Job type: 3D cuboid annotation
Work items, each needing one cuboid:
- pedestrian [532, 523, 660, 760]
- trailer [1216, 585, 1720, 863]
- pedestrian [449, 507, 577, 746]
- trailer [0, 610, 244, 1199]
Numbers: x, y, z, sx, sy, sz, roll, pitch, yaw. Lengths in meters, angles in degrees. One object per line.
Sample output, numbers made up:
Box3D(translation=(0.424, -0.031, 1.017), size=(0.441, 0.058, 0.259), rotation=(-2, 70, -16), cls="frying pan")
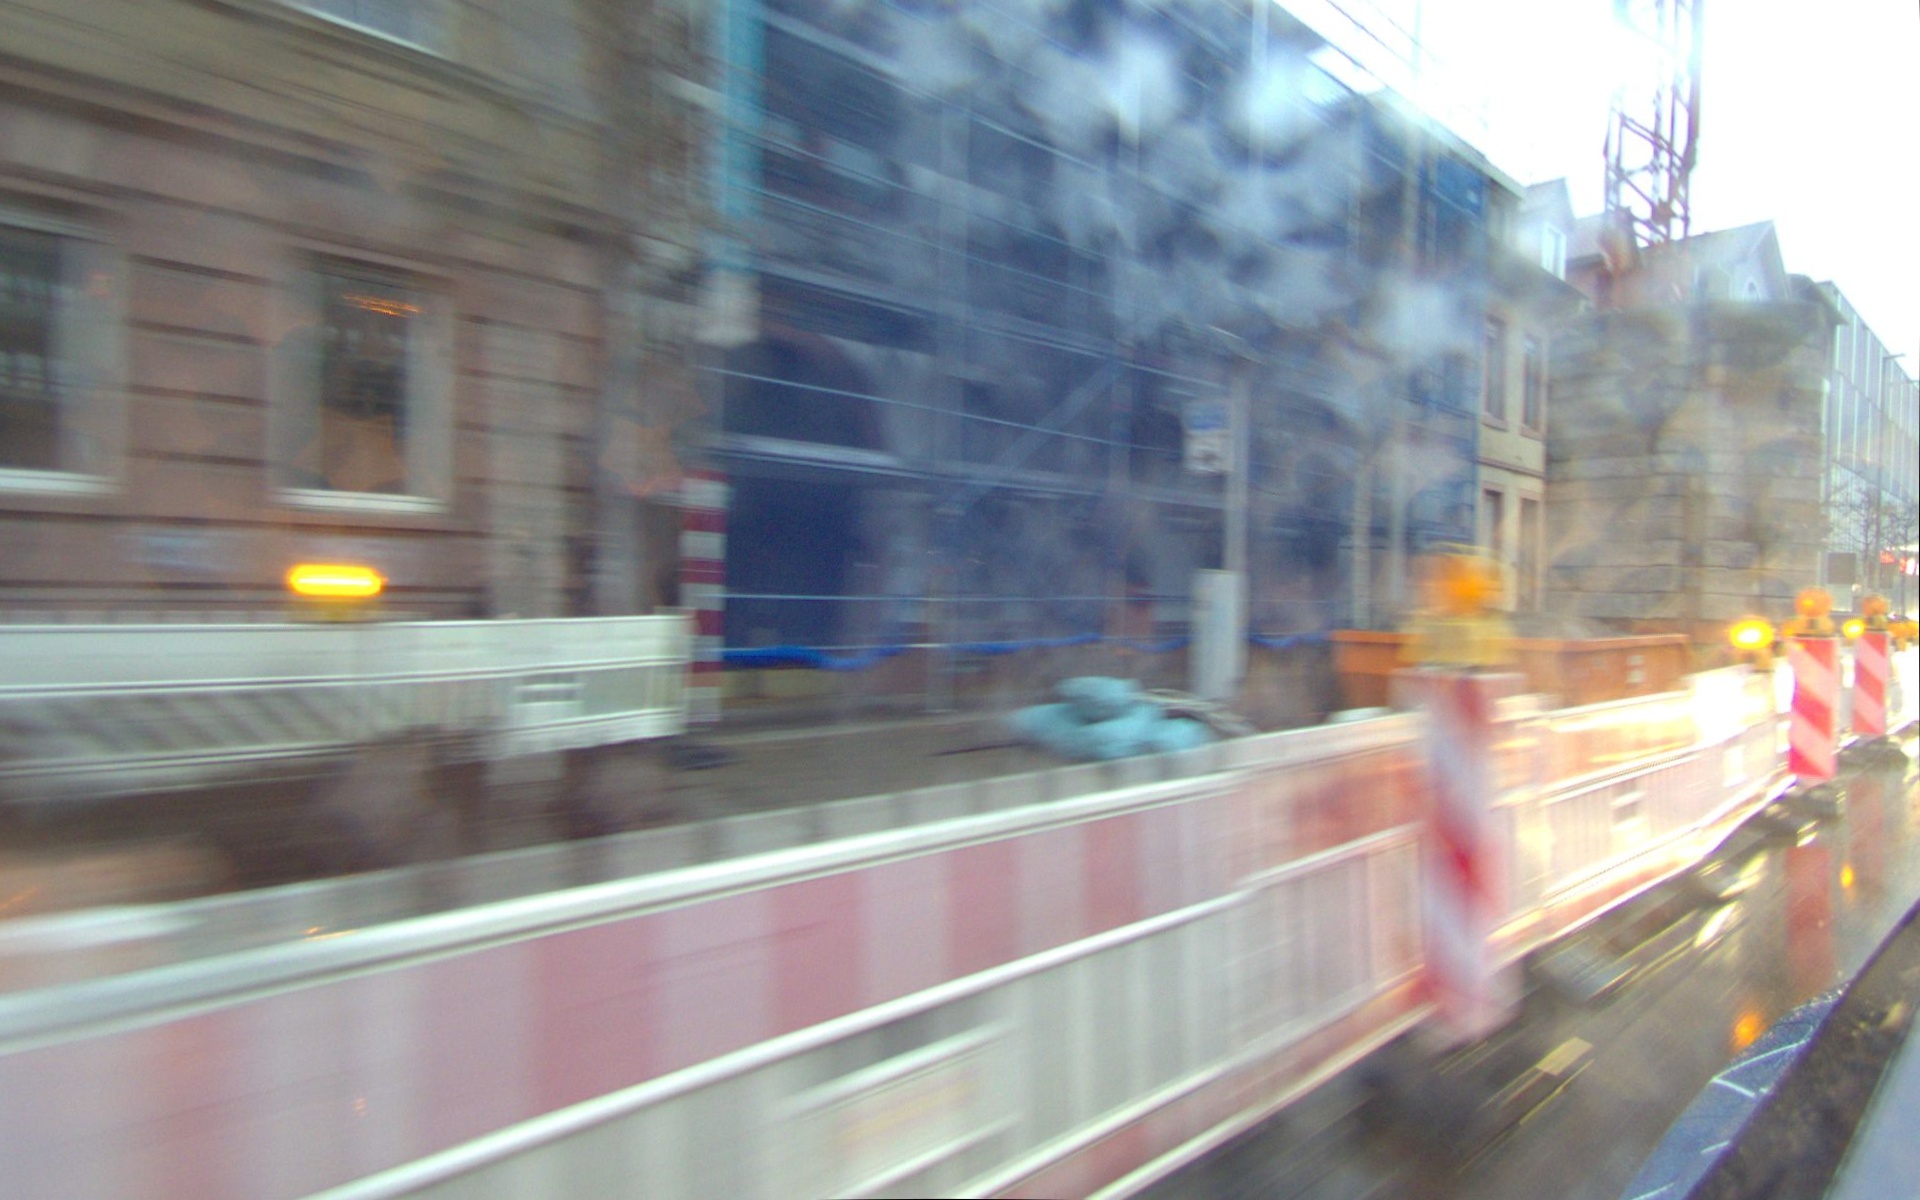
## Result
Box3D(translation=(-2.704, 0.272, 7.497), size=(0.639, 1.641, 0.712), rotation=(1, 3, -41), cls="pedestrian")
Box3D(translation=(4.195, 0.693, 7.936), size=(4.762, 1.508, 1.839), rotation=(0, 2, -41), cls="trailer")
Box3D(translation=(-3.442, 0.173, 7.789), size=(0.714, 1.731, 0.643), rotation=(1, 3, -41), cls="pedestrian")
Box3D(translation=(-3.140, 0.742, 1.302), size=(3.466, 1.362, 1.854), rotation=(0, 2, -41), cls="trailer")
